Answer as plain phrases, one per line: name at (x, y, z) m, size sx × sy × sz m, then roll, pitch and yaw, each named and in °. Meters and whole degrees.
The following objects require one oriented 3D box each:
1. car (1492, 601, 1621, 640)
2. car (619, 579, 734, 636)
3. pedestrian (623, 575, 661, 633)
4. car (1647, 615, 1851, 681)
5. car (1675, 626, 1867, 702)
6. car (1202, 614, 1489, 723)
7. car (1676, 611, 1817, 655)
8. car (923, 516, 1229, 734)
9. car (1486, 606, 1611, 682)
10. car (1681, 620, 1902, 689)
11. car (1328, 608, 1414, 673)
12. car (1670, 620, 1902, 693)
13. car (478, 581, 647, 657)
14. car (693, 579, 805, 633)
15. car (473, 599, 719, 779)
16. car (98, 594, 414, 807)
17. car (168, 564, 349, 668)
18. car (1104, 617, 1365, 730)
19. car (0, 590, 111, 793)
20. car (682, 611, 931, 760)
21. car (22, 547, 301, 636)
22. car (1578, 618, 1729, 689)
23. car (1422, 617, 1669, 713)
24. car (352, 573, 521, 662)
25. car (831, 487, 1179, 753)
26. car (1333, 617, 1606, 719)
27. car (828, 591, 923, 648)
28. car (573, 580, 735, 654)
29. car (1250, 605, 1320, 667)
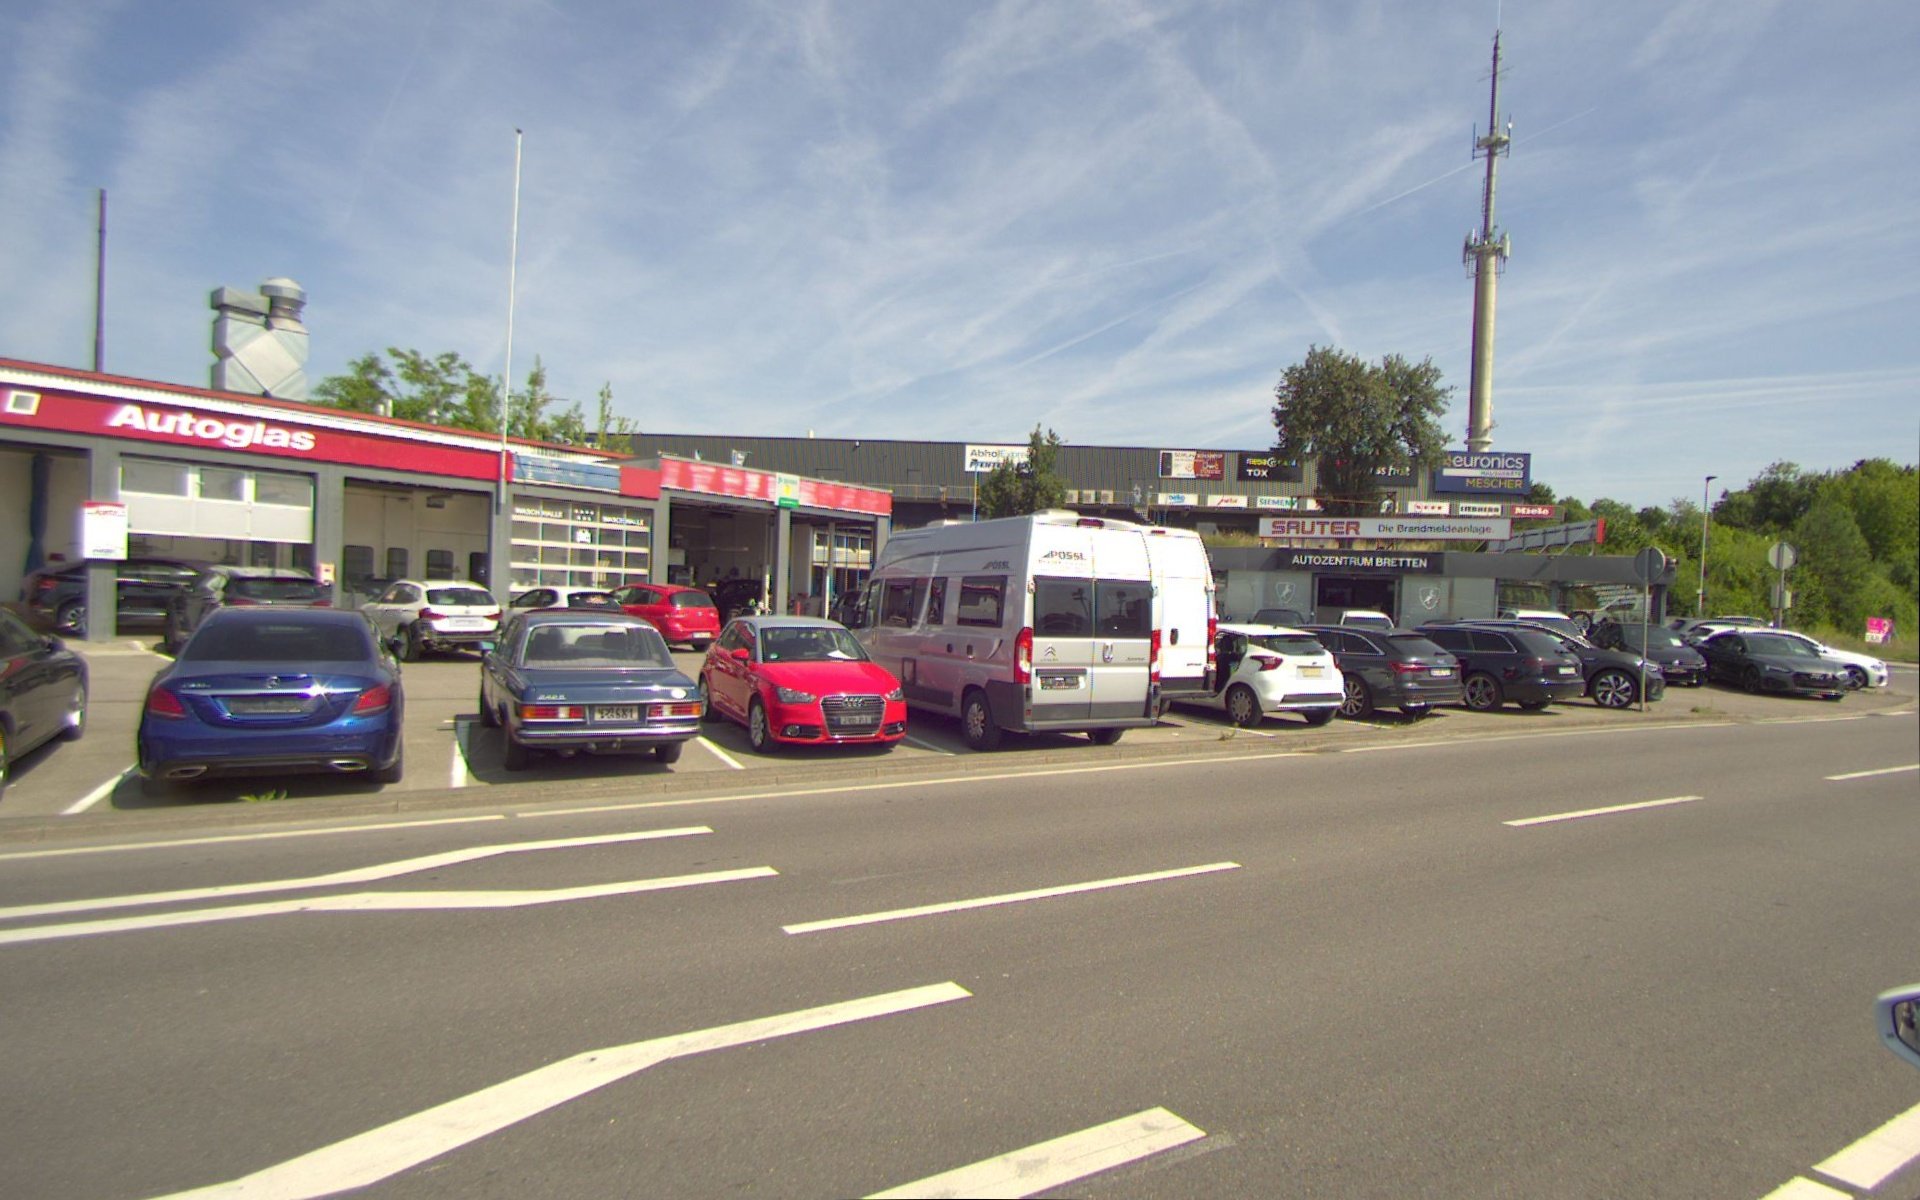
car at (28.310, 0.975, 47.858) m, size 4.874 × 1.437 × 1.950 m, roll 4°, pitch 0°, yaw 16°
car at (-9.214, 0.211, 32.508) m, size 1.856 × 1.583 × 4.048 m, roll 2°, pitch 2°, yaw -44°
pedestrian at (-9.877, 0.115, 31.230) m, size 0.855 × 1.750 × 0.739 m, roll 4°, pitch 2°, yaw 44°
car at (25.416, 1.494, 32.569) m, size 4.702 × 1.647 × 1.932 m, roll 5°, pitch 1°, yaw 19°
car at (20.337, 1.526, 25.488) m, size 1.934 × 1.455 × 4.643 m, roll 2°, pitch 1°, yaw 13°
car at (6.489, 1.077, 17.408) m, size 2.006 × 1.550 × 4.345 m, roll 2°, pitch -1°, yaw -31°
car at (35.741, 1.487, 45.791) m, size 4.543 × 1.548 × 1.916 m, roll 4°, pitch 2°, yaw 16°
car at (1.571, 0.325, 16.271) m, size 2.090 × 2.876 × 5.685 m, roll 1°, pitch 0°, yaw -28°
car at (16.045, 1.121, 27.654) m, size 1.855 × 1.772 × 4.470 m, roll 2°, pitch 1°, yaw 16°
car at (24.852, 1.584, 30.252) m, size 4.624 × 1.533 × 1.955 m, roll 5°, pitch 2°, yaw 20°
car at (11.643, 1.087, 28.701) m, size 1.791 × 1.544 × 4.144 m, roll 2°, pitch 1°, yaw 16°
car at (23.076, 1.532, 28.328) m, size 4.629 × 1.495 × 1.890 m, roll 5°, pitch 2°, yaw 27°
car at (-9.103, 0.385, 22.892) m, size 3.882 × 1.540 × 1.876 m, roll 2°, pitch 0°, yaw 38°
car at (-7.646, 0.194, 36.200) m, size 4.038 × 1.831 × 1.744 m, roll 1°, pitch 0°, yaw 38°
car at (-4.052, 0.769, 10.696) m, size 1.851 × 1.487 × 4.230 m, roll 2°, pitch -1°, yaw -28°
car at (-6.084, 0.709, 9.140) m, size 1.883 × 1.473 × 3.969 m, roll 2°, pitch -1°, yaw -29°
car at (-12.577, 0.232, 17.922) m, size 3.943 × 1.641 × 1.865 m, roll 2°, pitch 0°, yaw 43°
car at (4.262, 1.084, 16.213) m, size 1.858 × 1.489 × 3.971 m, roll 2°, pitch -1°, yaw -28°
car at (-8.331, 0.645, 7.765) m, size 1.923 × 1.471 × 3.969 m, roll 2°, pitch -1°, yaw -29°
car at (-2.039, 0.904, 12.278) m, size 1.805 × 1.450 × 3.923 m, roll 2°, pitch -1°, yaw -28°
car at (-16.662, -0.126, 21.118) m, size 4.439 × 1.676 × 1.851 m, roll 2°, pitch 0°, yaw -44°
car at (18.341, 1.353, 26.827) m, size 1.762 × 1.507 × 4.346 m, roll 2°, pitch 1°, yaw 13°
car at (11.741, 1.234, 20.303) m, size 4.111 × 1.644 × 2.025 m, roll 1°, pitch 0°, yaw 33°
car at (-10.804, 0.315, 20.599) m, size 1.976 × 1.628 × 3.946 m, roll 2°, pitch 0°, yaw -45°
car at (0.273, 0.229, 13.571) m, size 2.150 × 2.809 × 5.544 m, roll 2°, pitch 0°, yaw -28°
car at (9.173, 1.155, 18.415) m, size 2.007 × 1.550 × 4.015 m, roll 2°, pitch -1°, yaw -30°
car at (-2.742, 0.582, 31.694) m, size 1.857 × 1.629 × 4.082 m, roll 2°, pitch 0°, yaw -22°
car at (-7.618, 0.392, 24.892) m, size 3.937 × 1.639 × 1.910 m, roll 2°, pitch 0°, yaw 38°
car at (9.542, 0.997, 29.723) m, size 1.779 × 1.544 × 4.345 m, roll 2°, pitch 1°, yaw 16°
